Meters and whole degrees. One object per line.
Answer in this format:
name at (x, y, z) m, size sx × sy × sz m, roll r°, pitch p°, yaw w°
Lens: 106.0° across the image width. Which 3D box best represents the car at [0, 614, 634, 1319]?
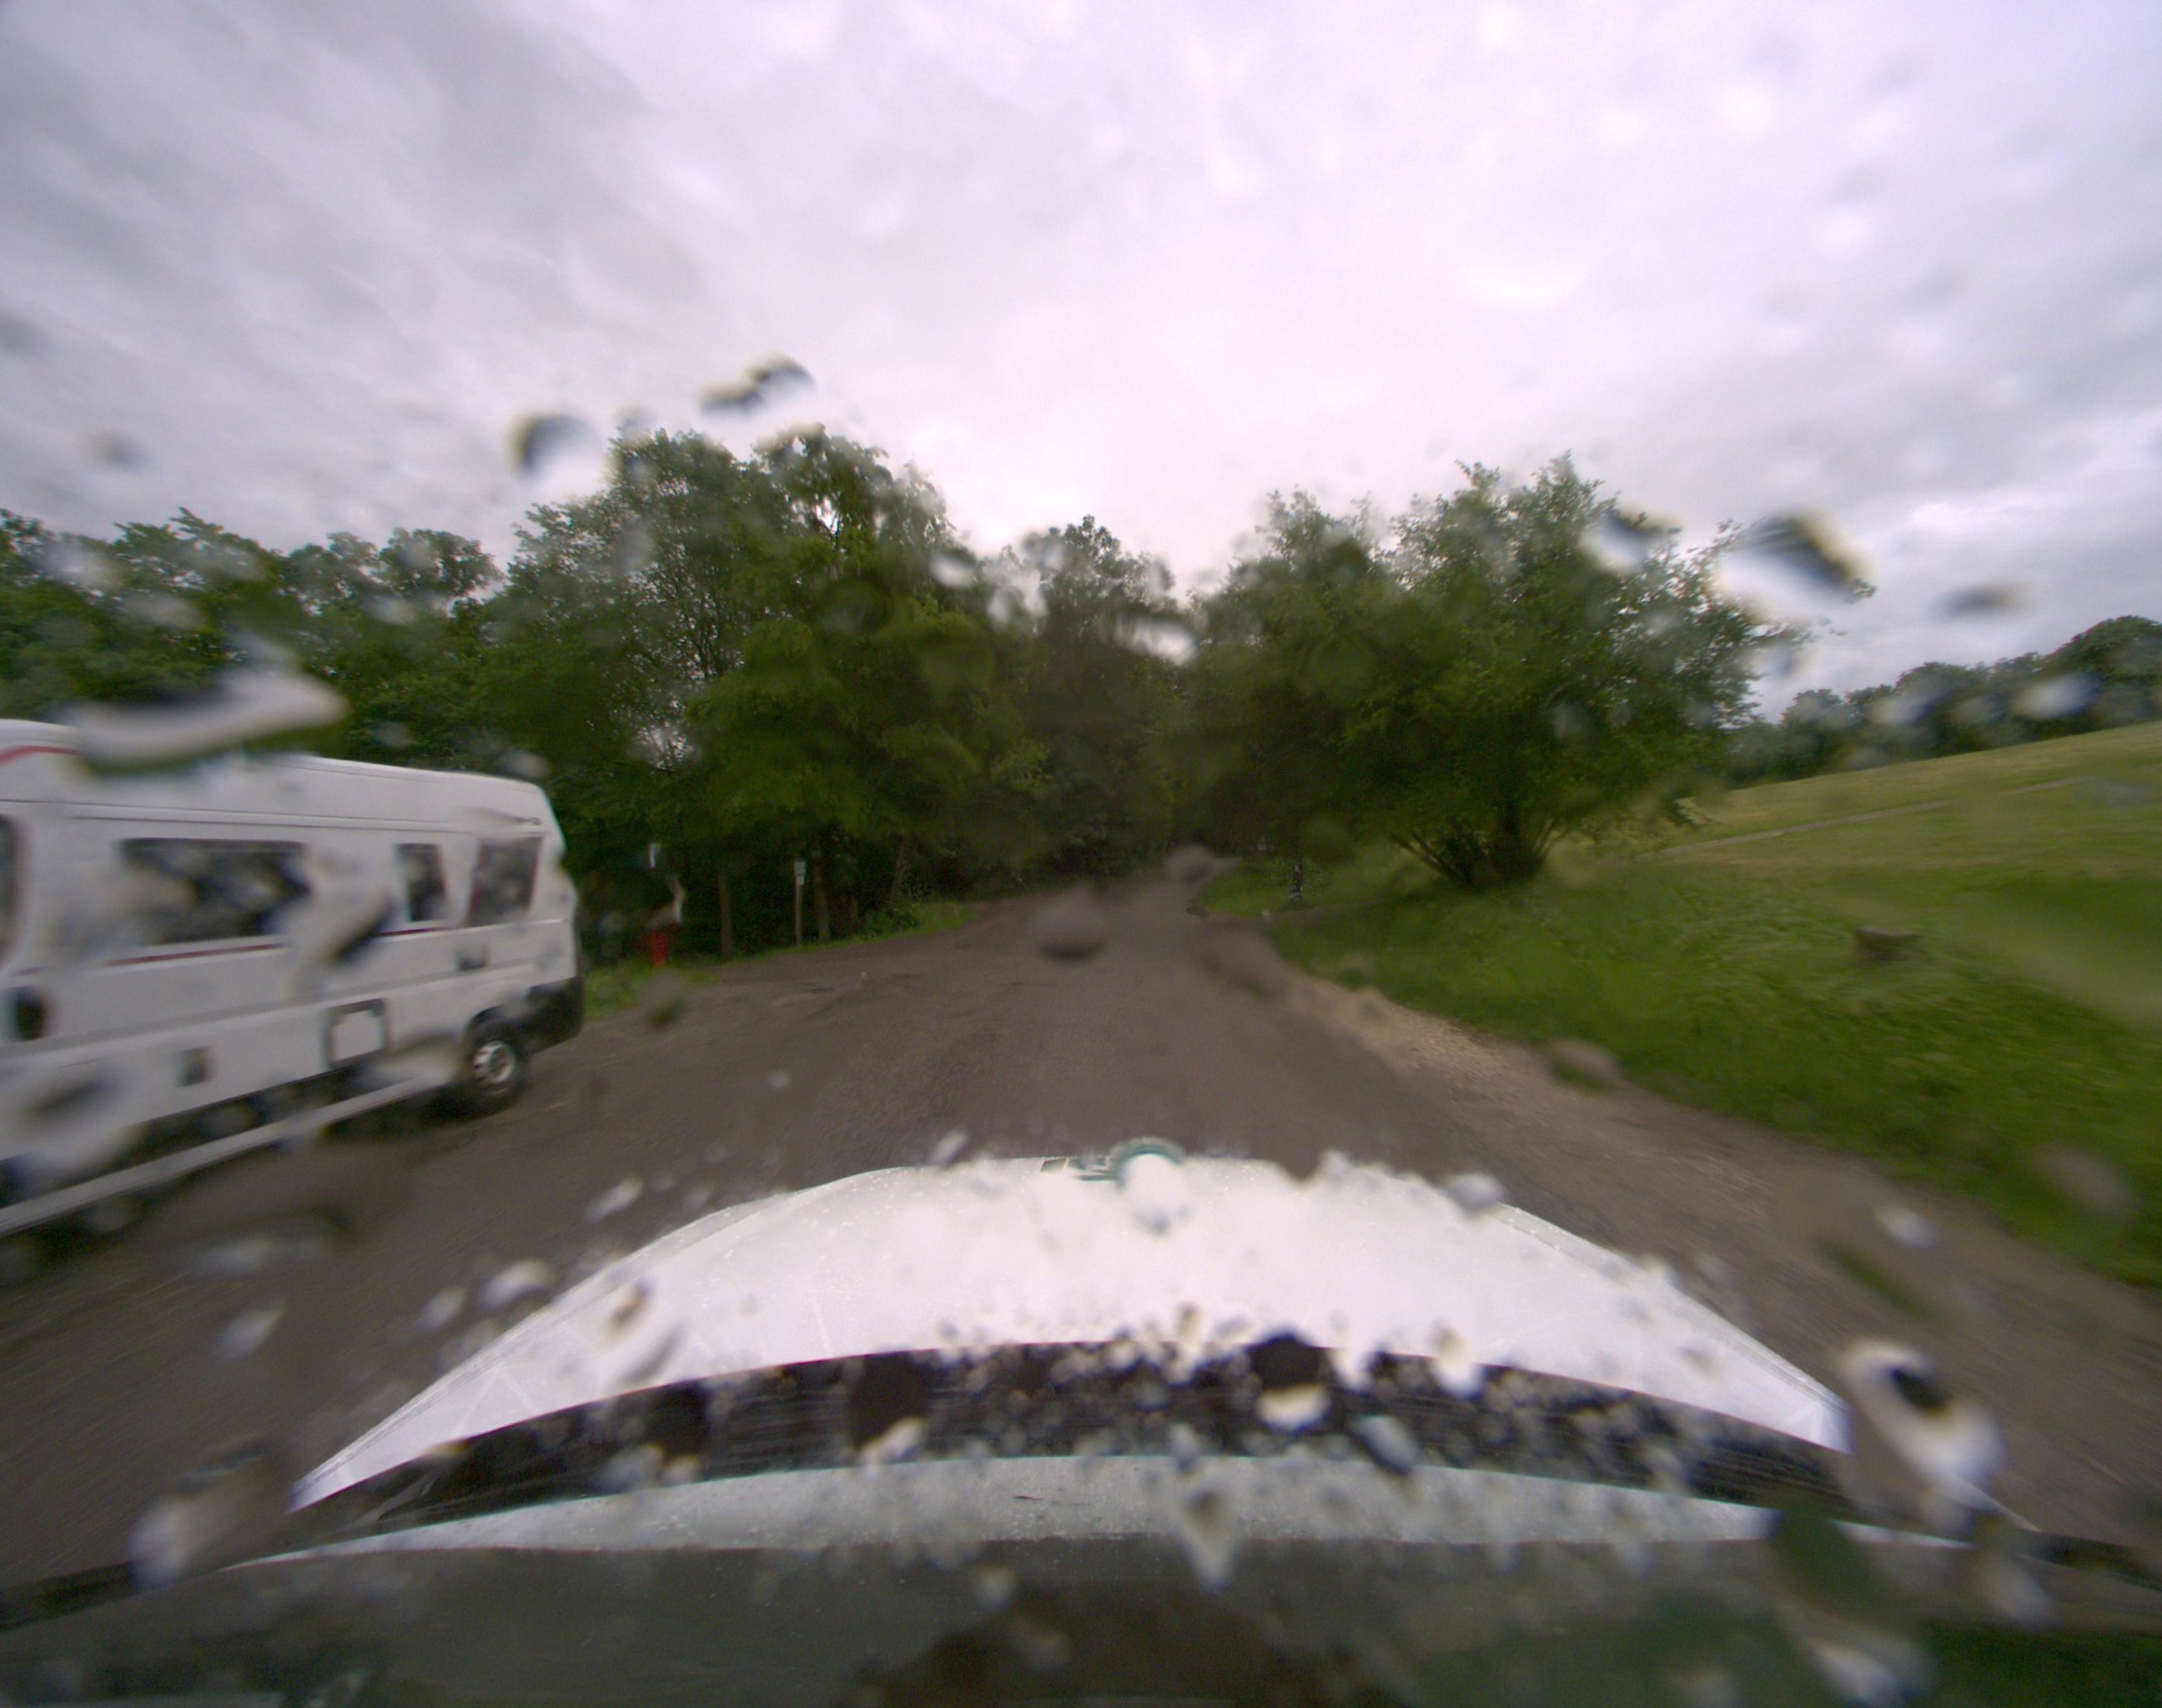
car at (-5.268, 0.481, 4.179) m, size 2.265 × 2.696 × 6.051 m, roll -5°, pitch 1°, yaw 1°
